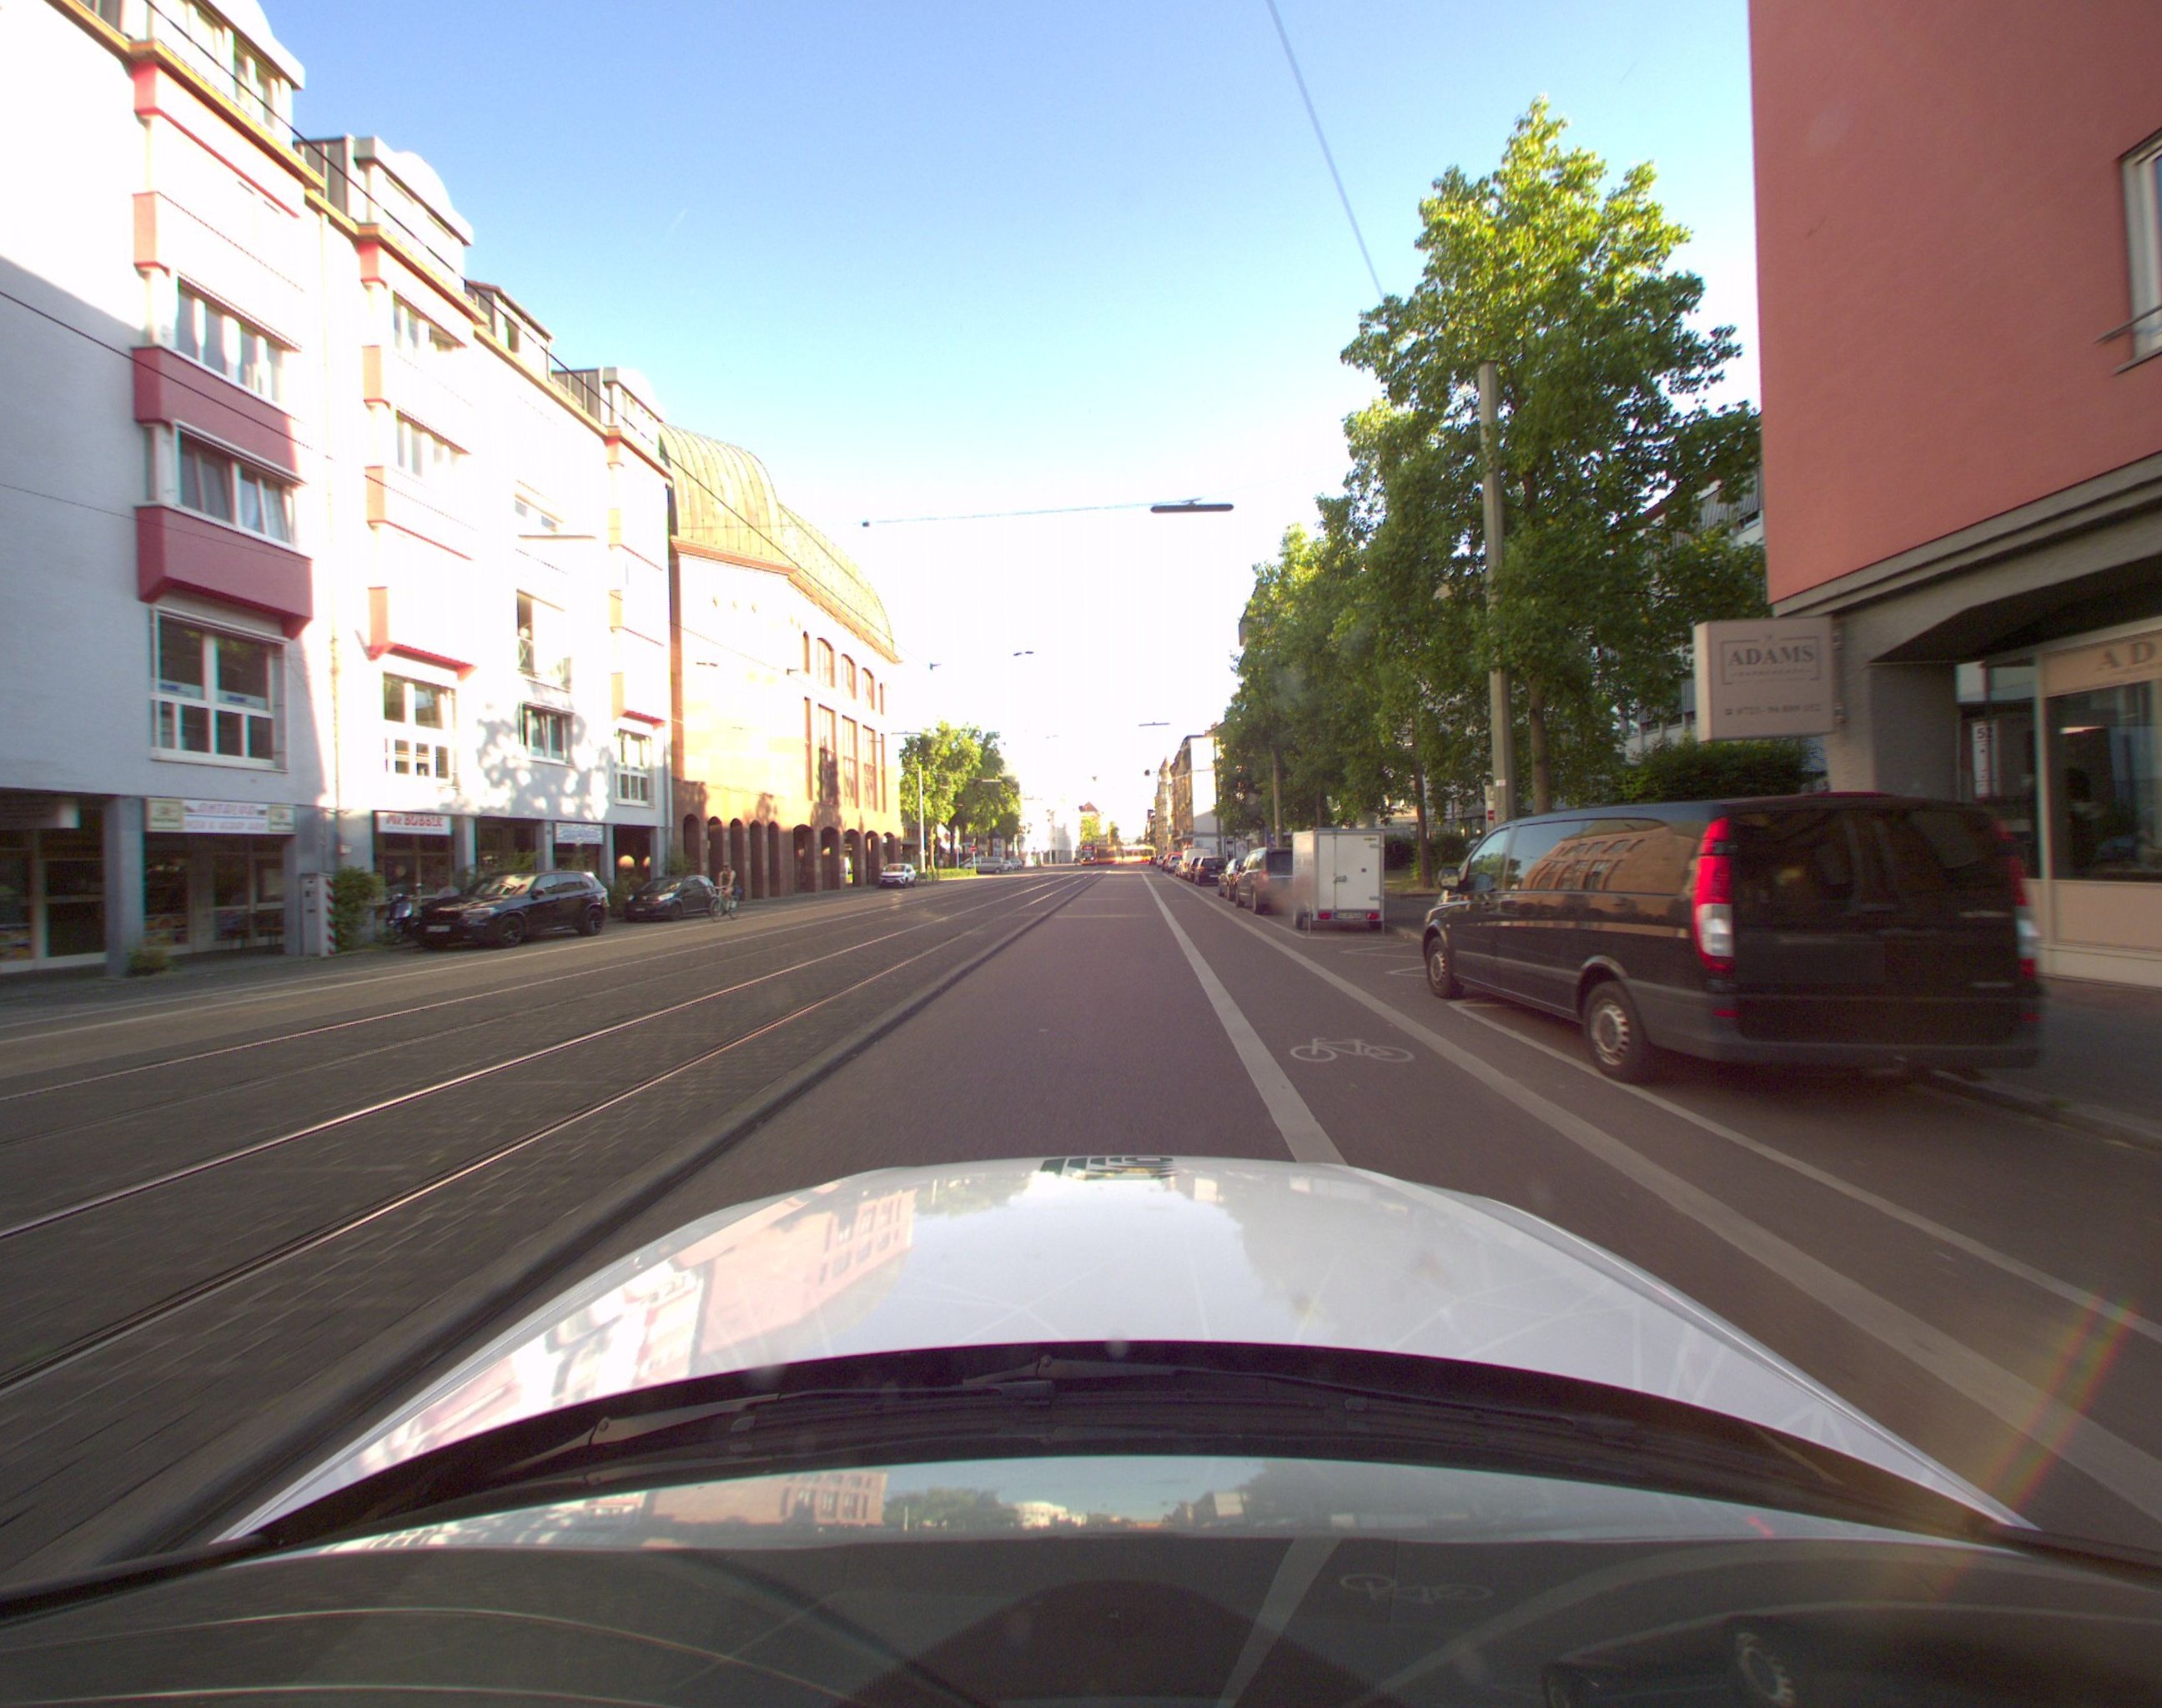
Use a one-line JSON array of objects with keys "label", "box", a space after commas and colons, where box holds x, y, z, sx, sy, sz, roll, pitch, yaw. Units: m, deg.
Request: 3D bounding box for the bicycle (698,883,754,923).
[{"label": "bicycle", "box": [-11.001, 1.489, 25.291, 0.579, 1.077, 2.188, -4, 0, 4]}]

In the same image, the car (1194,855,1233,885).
[{"label": "car", "box": [6.690, 0.768, 41.463, 1.614, 1.431, 3.989, -1, 0, 4]}]

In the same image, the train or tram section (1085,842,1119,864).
[{"label": "train or tram section", "box": [4.044, -0.215, 149.744, 2.670, 3.878, 12.903, 1, 0, 18]}]

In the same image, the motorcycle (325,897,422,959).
[{"label": "motorcycle", "box": [-15.452, 1.583, 17.871, 0.670, 1.205, 2.131, 0, -1, -13]}]

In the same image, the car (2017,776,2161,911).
[{"label": "car", "box": [15.105, -0.261, 10.536, 4.019, 1.648, 1.776, -4, 0, -2]}]

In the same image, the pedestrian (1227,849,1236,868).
[{"label": "pedestrian", "box": [13.548, 0.411, 73.386, 0.658, 1.722, 0.835, -1, -1, 4]}]

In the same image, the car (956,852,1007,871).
[{"label": "car", "box": [-11.184, 0.905, 91.732, 5.283, 2.043, 2.396, 1, -2, -29]}]

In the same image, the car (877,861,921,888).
[{"label": "car", "box": [-11.954, 1.310, 53.712, 1.863, 1.600, 4.255, -1, 0, 1]}]

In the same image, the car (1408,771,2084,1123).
[{"label": "car", "box": [4.559, 0.495, 6.880, 1.946, 1.869, 4.995, 0, 0, 5]}]

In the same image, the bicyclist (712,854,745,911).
[{"label": "bicyclist", "box": [-11.024, 0.874, 25.474, 0.569, 1.712, 0.746, -4, -1, 3]}]

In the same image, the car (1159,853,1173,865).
[{"label": "car", "box": [10.914, 0.665, 104.352, 1.614, 1.555, 4.086, 0, 0, 3]}]

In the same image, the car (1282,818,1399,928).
[{"label": "car", "box": [5.482, 0.389, 17.631, 1.696, 2.120, 3.713, -1, -1, 6]}]

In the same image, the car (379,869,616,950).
[{"label": "car", "box": [-13.796, 1.215, 19.740, 2.082, 1.713, 4.822, 0, -1, 3]}]

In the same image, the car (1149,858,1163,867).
[{"label": "car", "box": [12.000, 1.302, 130.920, 2.057, 1.389, 4.229, 1, 0, 3]}]

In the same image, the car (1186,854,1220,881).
[{"label": "car", "box": [6.964, 0.733, 46.824, 1.614, 1.474, 3.975, -1, 0, 4]}]

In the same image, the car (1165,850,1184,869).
[{"label": "car", "box": [8.877, 0.515, 77.480, 1.614, 1.813, 4.086, 0, 0, 3]}]

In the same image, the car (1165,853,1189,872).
[{"label": "car", "box": [8.397, 0.715, 71.398, 1.716, 1.567, 4.086, -2, 0, 3]}]

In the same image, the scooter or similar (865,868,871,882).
[{"label": "scooter or similar", "box": [-14.377, 1.416, 55.033, 0.363, 0.938, 0.967, 1, 0, -17]}]

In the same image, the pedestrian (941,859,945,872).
[{"label": "pedestrian", "box": [-15.046, 1.237, 88.515, 0.363, 1.343, 0.480, 1, 0, -17]}]

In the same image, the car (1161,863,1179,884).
[{"label": "car", "box": [8.882, 1.894, 81.685, 1.614, 2.006, 3.834, 0, 0, 3]}]

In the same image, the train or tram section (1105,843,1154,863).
[{"label": "train or tram section", "box": [9.583, -0.104, 159.772, 2.667, 3.752, 11.354, 1, 0, 44]}]

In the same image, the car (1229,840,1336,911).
[{"label": "car", "box": [5.488, 0.549, 22.918, 1.942, 1.788, 5.184, 0, 0, 2]}]

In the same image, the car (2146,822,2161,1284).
[{"label": "car", "box": [4.298, 0.641, 0.675, 1.724, 1.496, 3.963, 0, 0, 2]}]

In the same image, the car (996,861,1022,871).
[{"label": "car", "box": [-10.713, 1.783, 121.102, 3.540, 1.481, 1.567, 0, 0, -29]}]

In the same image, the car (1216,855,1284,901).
[{"label": "car", "box": [5.985, 0.796, 29.288, 1.709, 1.427, 4.679, -1, 1, 3]}]

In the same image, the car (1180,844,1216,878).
[{"label": "car", "box": [7.529, 0.448, 52.689, 1.962, 2.014, 4.564, -3, 0, 4]}]

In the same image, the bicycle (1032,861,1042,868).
[{"label": "bicycle", "box": [-7.720, 1.859, 141.599, 0.704, 1.239, 2.003, 1, 0, -37]}]

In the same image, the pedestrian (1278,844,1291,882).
[{"label": "pedestrian", "box": [9.508, 0.412, 38.099, 0.422, 1.709, 0.456, -4, 3, 21]}]

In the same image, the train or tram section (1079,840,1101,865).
[{"label": "train or tram section", "box": [1.578, -0.192, 137.881, 2.679, 3.960, 12.107, 1, 0, 5]}]

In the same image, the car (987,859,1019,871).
[{"label": "car", "box": [-10.654, 1.539, 111.020, 3.890, 1.627, 1.859, 0, 0, -28]}]

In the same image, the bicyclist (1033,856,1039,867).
[{"label": "bicyclist", "box": [-7.794, 1.329, 141.703, 0.703, 2.013, 0.716, 1, 0, -35]}]

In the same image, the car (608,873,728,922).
[{"label": "car", "box": [-13.576, 1.400, 26.987, 1.860, 1.450, 3.590, -1, 0, 6]}]
